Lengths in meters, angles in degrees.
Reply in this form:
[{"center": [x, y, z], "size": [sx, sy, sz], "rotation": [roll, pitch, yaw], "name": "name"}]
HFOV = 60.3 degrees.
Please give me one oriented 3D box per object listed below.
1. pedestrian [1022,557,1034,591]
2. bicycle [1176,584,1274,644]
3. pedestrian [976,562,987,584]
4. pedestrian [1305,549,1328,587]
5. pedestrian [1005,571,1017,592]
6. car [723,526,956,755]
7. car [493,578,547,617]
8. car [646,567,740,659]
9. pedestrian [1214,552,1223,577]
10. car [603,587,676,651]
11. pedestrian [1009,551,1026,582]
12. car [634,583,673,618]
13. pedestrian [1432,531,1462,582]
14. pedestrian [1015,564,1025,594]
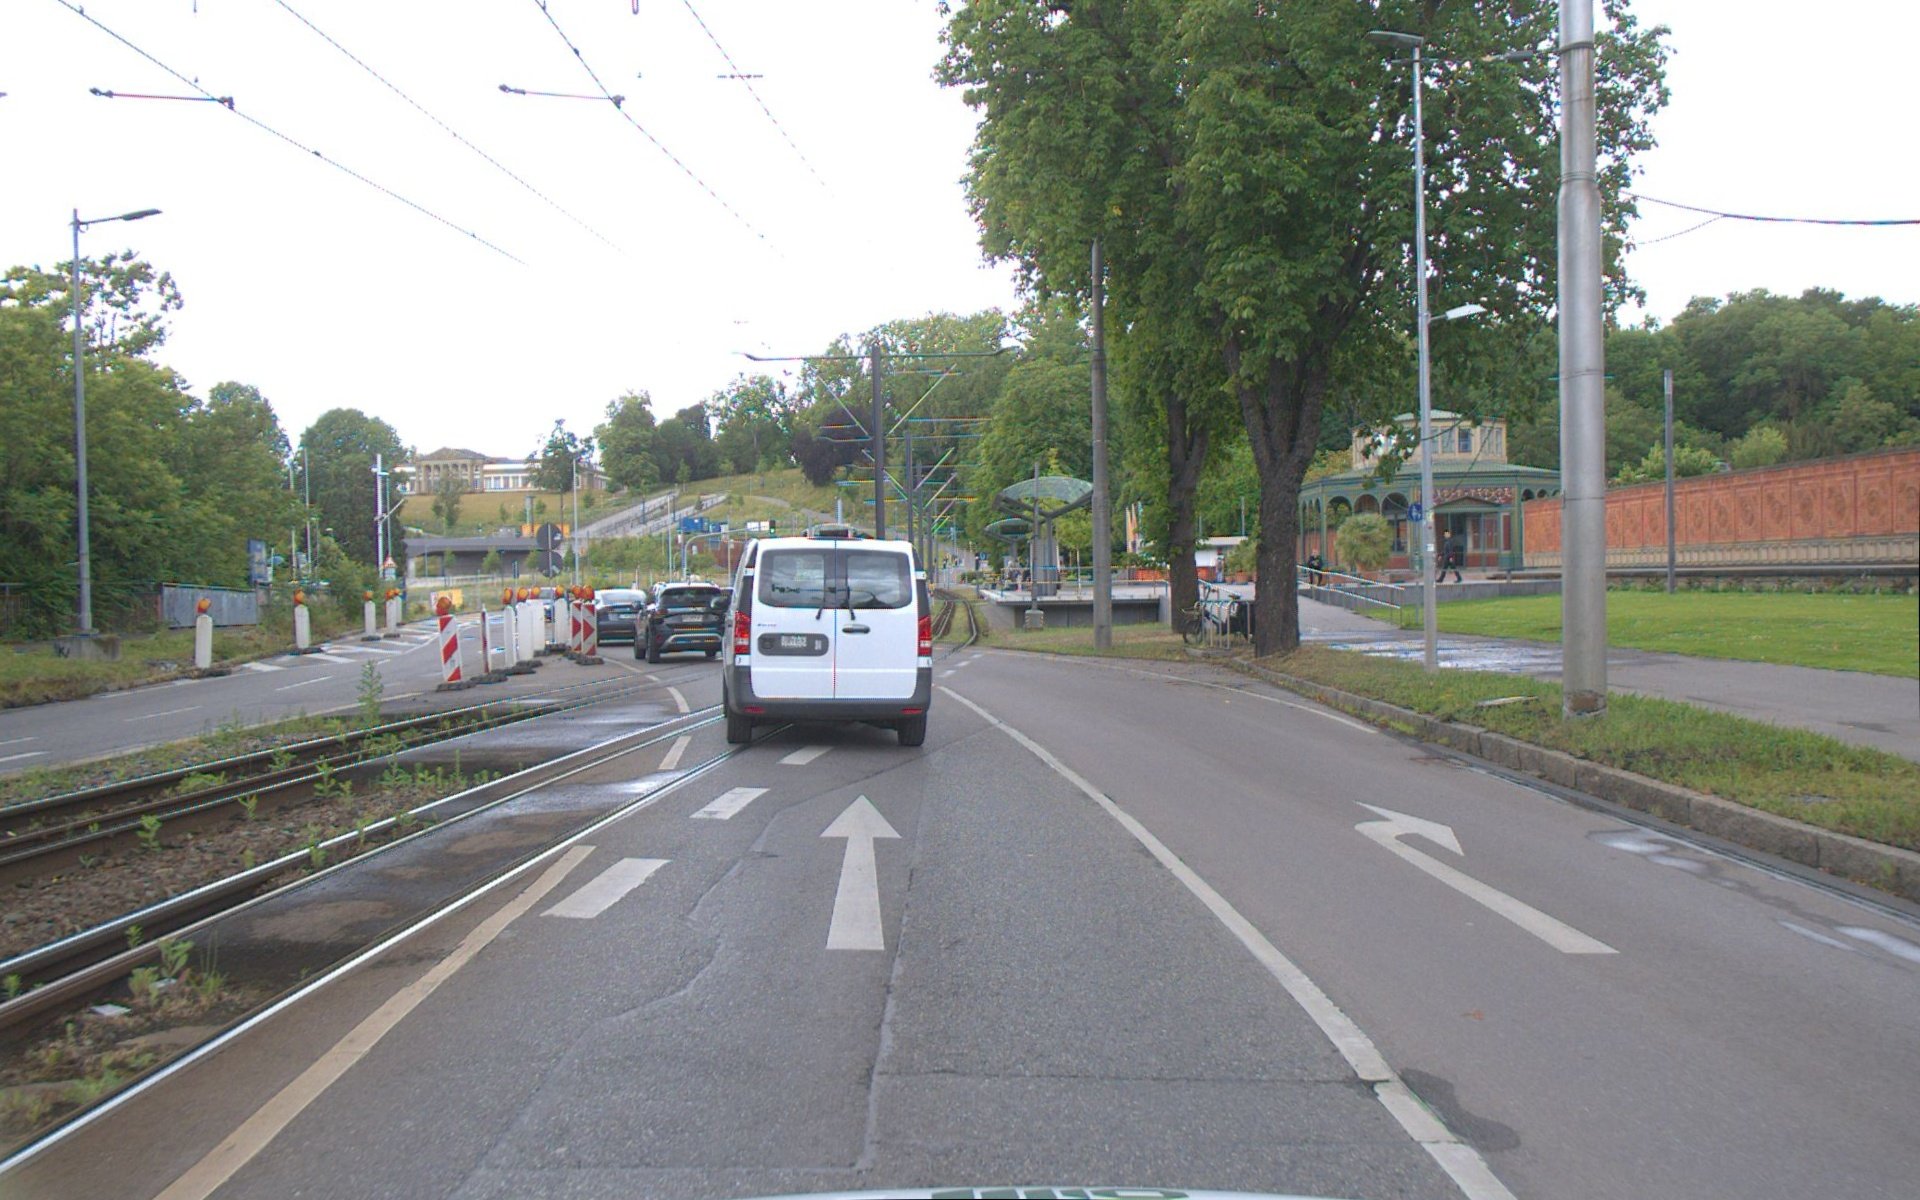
[{"center": [3.688, -1.413, 89.851], "size": [0.619, 1.870, 0.950], "rotation": [1, 0, 1], "name": "pedestrian"}, {"center": [5.557, 0.287, 34.712], "size": [1.949, 1.178, 0.741], "rotation": [-2, 0, 4], "name": "bicycle"}, {"center": [1.351, -1.698, 103.929], "size": [0.660, 1.346, 0.968], "rotation": [1, 0, -1], "name": "pedestrian"}, {"center": [11.648, -1.034, 54.115], "size": [0.537, 1.222, 0.668], "rotation": [1, 0, -7], "name": "pedestrian"}, {"center": [2.880, -1.039, 93.863], "size": [0.644, 1.212, 0.676], "rotation": [1, 0, 1], "name": "pedestrian"}, {"center": [-1.331, 0.323, 16.324], "size": [1.923, 1.937, 4.452], "rotation": [0, 0, -9], "name": "car"}, {"center": [-18.755, -0.137, 70.571], "size": [1.663, 1.486, 3.907], "rotation": [-2, 2, -7], "name": "car"}, {"center": [-5.440, 0.229, 33.986], "size": [1.804, 1.759, 4.055], "rotation": [0, 0, -8], "name": "car"}, {"center": [16.022, -2.186, 102.602], "size": [0.475, 1.513, 0.460], "rotation": [1, 0, 3], "name": "pedestrian"}, {"center": [-8.507, 0.458, 43.741], "size": [1.806, 1.610, 4.050], "rotation": [0, 0, -12], "name": "car"}, {"center": [3.246, -1.885, 93.659], "size": [0.844, 1.706, 0.760], "rotation": [1, 0, -10], "name": "pedestrian"}, {"center": [-18.223, 0.022, 98.417], "size": [1.896, 2.049, 3.995], "rotation": [1, 0, -6], "name": "car"}, {"center": [17.979, -1.599, 61.087], "size": [0.933, 1.870, 0.548], "rotation": [1, 0, 36], "name": "pedestrian"}, {"center": [3.348, -1.191, 92.743], "size": [0.513, 1.648, 0.676], "rotation": [1, 0, 1], "name": "pedestrian"}]
